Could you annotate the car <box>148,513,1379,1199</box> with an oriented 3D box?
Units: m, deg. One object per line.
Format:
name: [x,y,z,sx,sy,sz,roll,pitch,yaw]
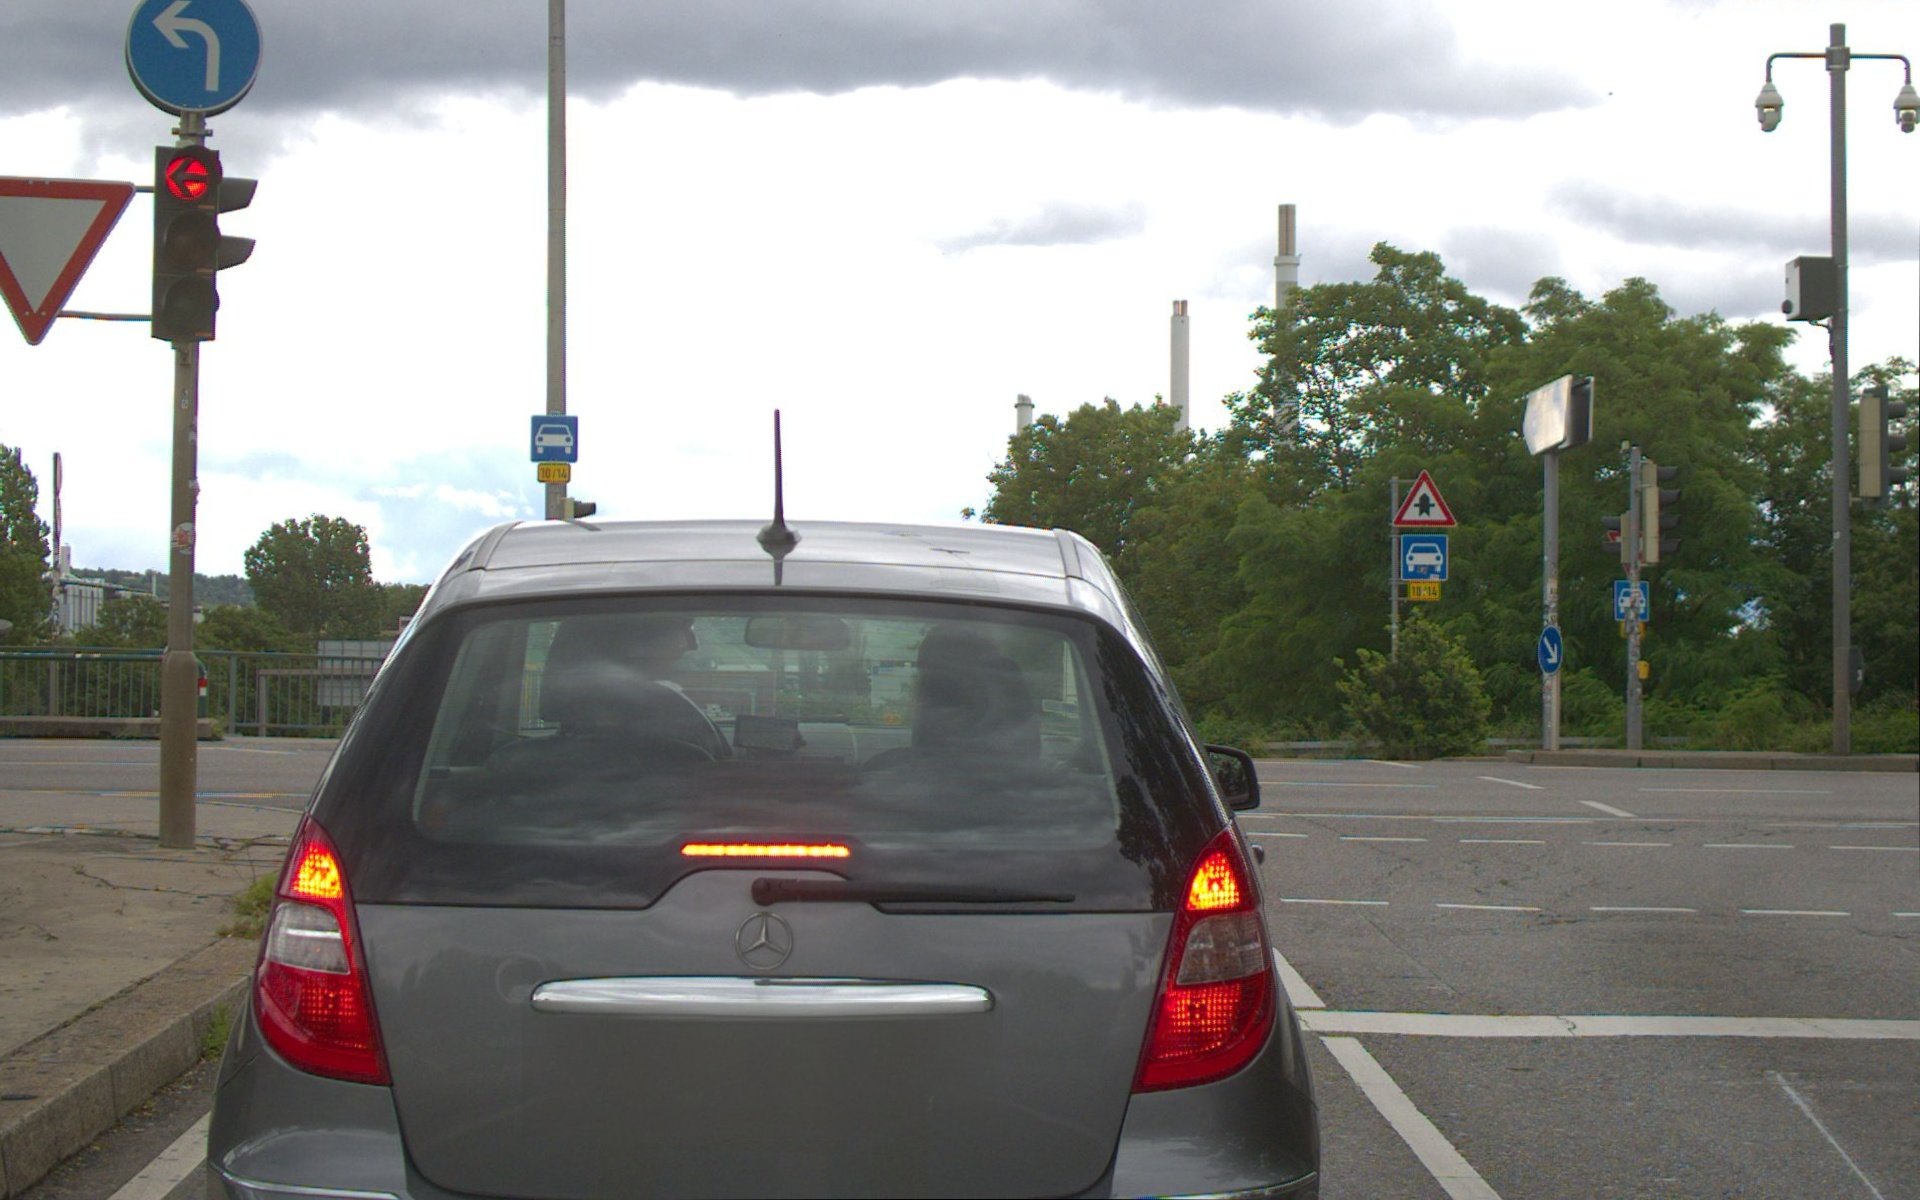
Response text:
car: [-0.297,0.638,6.665,1.739,1.538,3.541,1,1,0]
